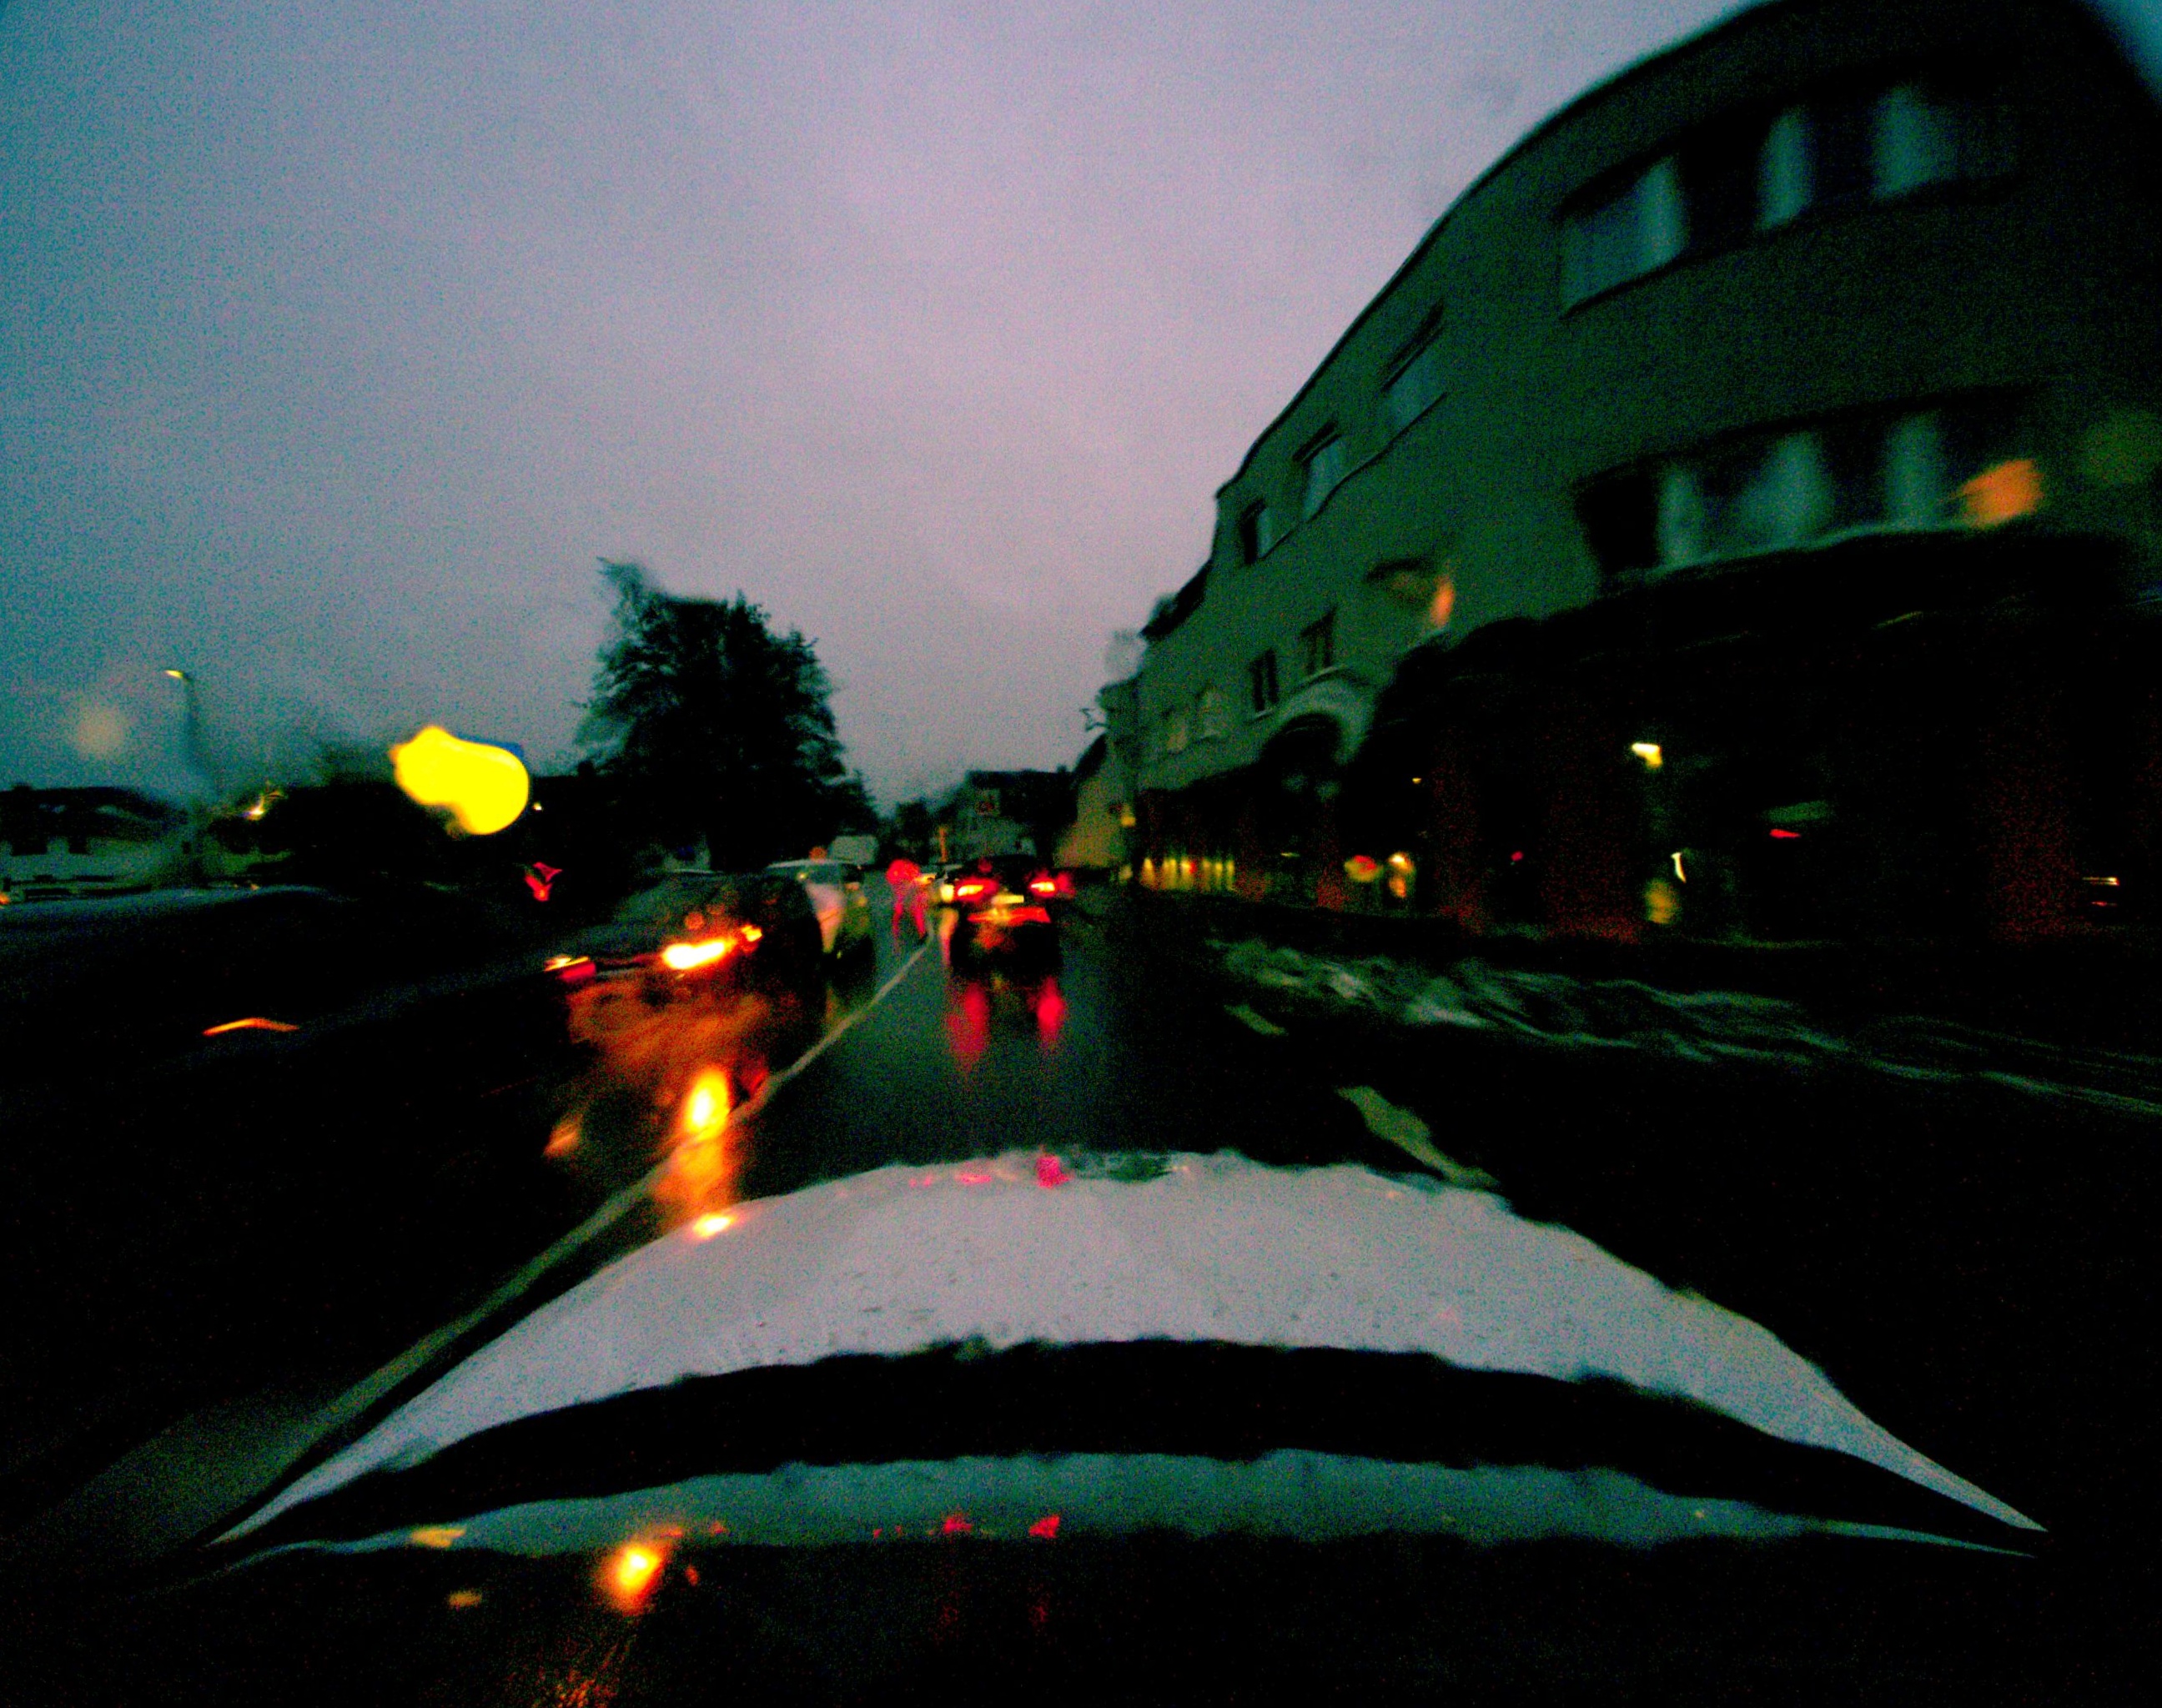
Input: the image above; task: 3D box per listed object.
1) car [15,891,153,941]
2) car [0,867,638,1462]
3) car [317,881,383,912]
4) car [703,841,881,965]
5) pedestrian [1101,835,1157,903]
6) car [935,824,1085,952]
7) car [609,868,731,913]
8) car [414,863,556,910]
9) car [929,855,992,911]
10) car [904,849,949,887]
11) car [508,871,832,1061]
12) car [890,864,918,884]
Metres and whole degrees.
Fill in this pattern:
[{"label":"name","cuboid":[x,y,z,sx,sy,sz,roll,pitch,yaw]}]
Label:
[{"label":"car","cuboid":[-40.918,2.494,33.564,1.920,1.617,3.970,-1,1,-23]},{"label":"car","cuboid":[-3.609,0.845,3.052,1.657,1.486,3.999,-2,0,0]},{"label":"car","cuboid":[-45.448,2.608,50.729,1.698,1.640,3.688,1,0,-18]},{"label":"car","cuboid":[-4.715,0.703,13.975,1.769,1.723,4.413,-2,0,-5]},{"label":"pedestrian","cuboid":[1.404,0.426,23.978,1.255,1.865,1.298,-4,0,-11]},{"label":"car","cuboid":[-1.304,0.557,15.596,2.305,1.938,5.010,-3,0,-4]},{"label":"car","cuboid":[-16.418,1.417,32.767,4.245,1.699,1.885,1,-1,-24]},{"label":"car","cuboid":[-25.265,1.352,34.712,4.418,1.671,1.957,-2,1,-18]},{"label":"car","cuboid":[-4.025,0.900,26.999,1.858,1.647,3.987,-2,0,-10]},{"label":"car","cuboid":[-8.915,0.782,46.576,2.312,1.938,4.996,-3,0,-13]},{"label":"car","cuboid":[-4.197,1.009,9.146,1.768,1.495,4.036,-2,0,-4]},{"label":"car","cuboid":[-13.382,1.505,61.538,1.845,1.331,3.918,-3,0,-14]}]
